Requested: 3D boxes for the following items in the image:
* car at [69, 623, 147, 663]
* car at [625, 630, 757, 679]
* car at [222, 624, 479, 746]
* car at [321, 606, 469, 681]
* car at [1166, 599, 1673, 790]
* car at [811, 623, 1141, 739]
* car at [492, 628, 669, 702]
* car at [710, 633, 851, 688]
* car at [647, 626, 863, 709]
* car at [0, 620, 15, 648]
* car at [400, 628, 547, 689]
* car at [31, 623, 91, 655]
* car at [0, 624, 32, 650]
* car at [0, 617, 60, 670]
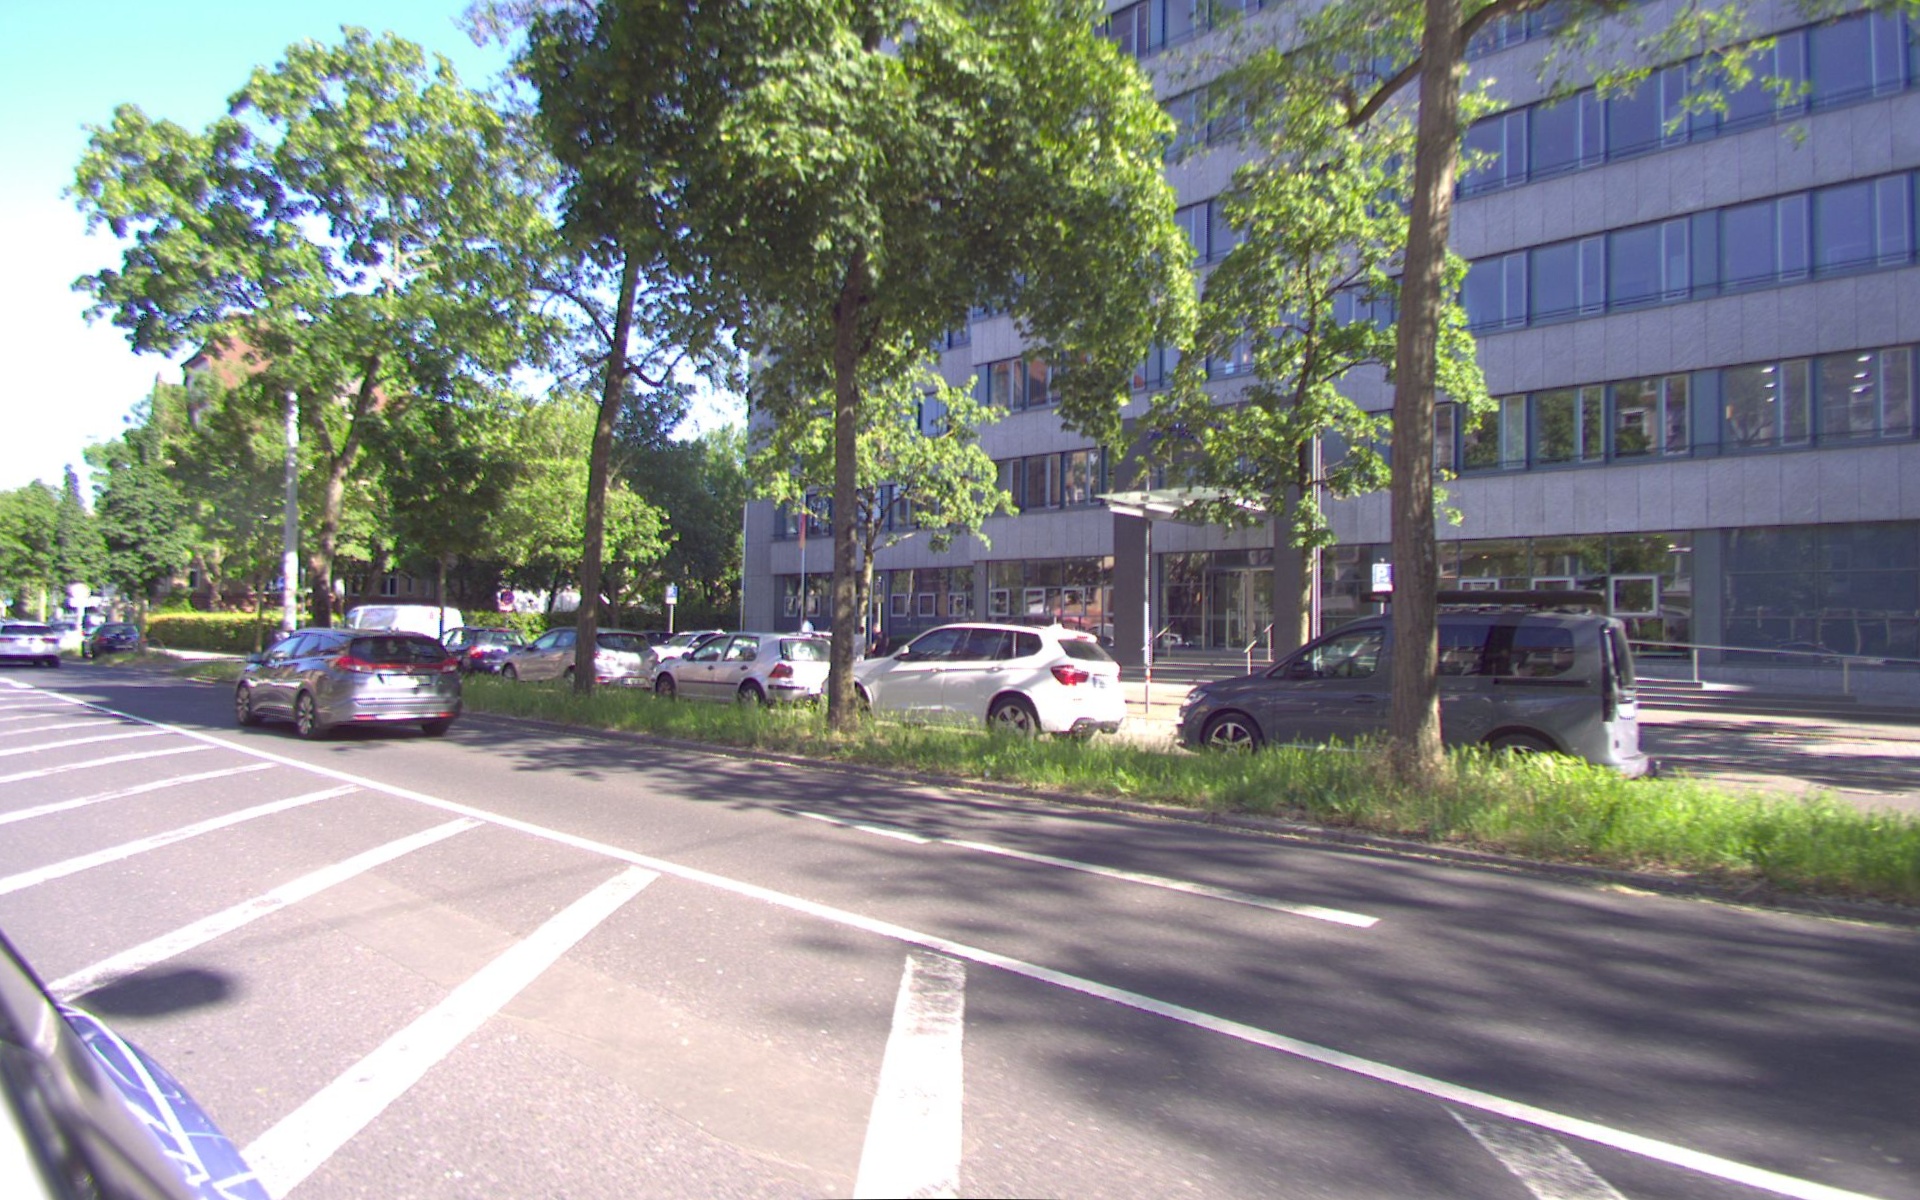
[{"bbox_3d":[-33.551,1.654,39.814,3.998,1.501,1.718,-1,-3,41],"label":"car"},{"bbox_3d":[-9.109,1.829,34.421,1.895,1.564,3.944,-1,-3,42],"label":"car"},{"bbox_3d":[-8.534,1.092,14.031,4.185,1.433,1.769,-1,-4,40],"label":"car"},{"bbox_3d":[-15.652,1.167,27.959,4.521,1.923,2.044,-1,-3,39],"label":"car"},{"bbox_3d":[4.514,0.832,10.377,4.445,1.561,1.712,-1,-3,40],"label":"car"},{"bbox_3d":[0.138,1.042,14.253,4.481,1.394,1.701,-1,-2,35],"label":"car"},{"bbox_3d":[-7.883,1.279,20.867,3.965,1.355,1.636,-1,-3,39],"label":"car"},{"bbox_3d":[-5.462,1.812,31.143,1.895,1.564,3.944,-1,-3,42],"label":"car"},{"bbox_3d":[-3.566,1.084,17.269,3.845,1.236,1.634,-1,-3,42],"label":"car"},{"bbox_3d":[-59.681,2.095,62.380,3.998,1.702,1.686,-1,-3,41],"label":"car"},{"bbox_3d":[-11.831,1.363,24.498,4.186,1.343,1.658,-1,-3,41],"label":"car"},{"bbox_3d":[-42.085,1.816,47.342,3.998,1.425,1.585,-1,-3,41],"label":"car"},{"bbox_3d":[-54.256,2.080,57.629,3.998,1.425,1.585,-1,-3,41],"label":"car"},{"bbox_3d":[-30.404,1.373,32.392,4.185,1.596,1.769,-1,-3,40],"label":"car"}]
